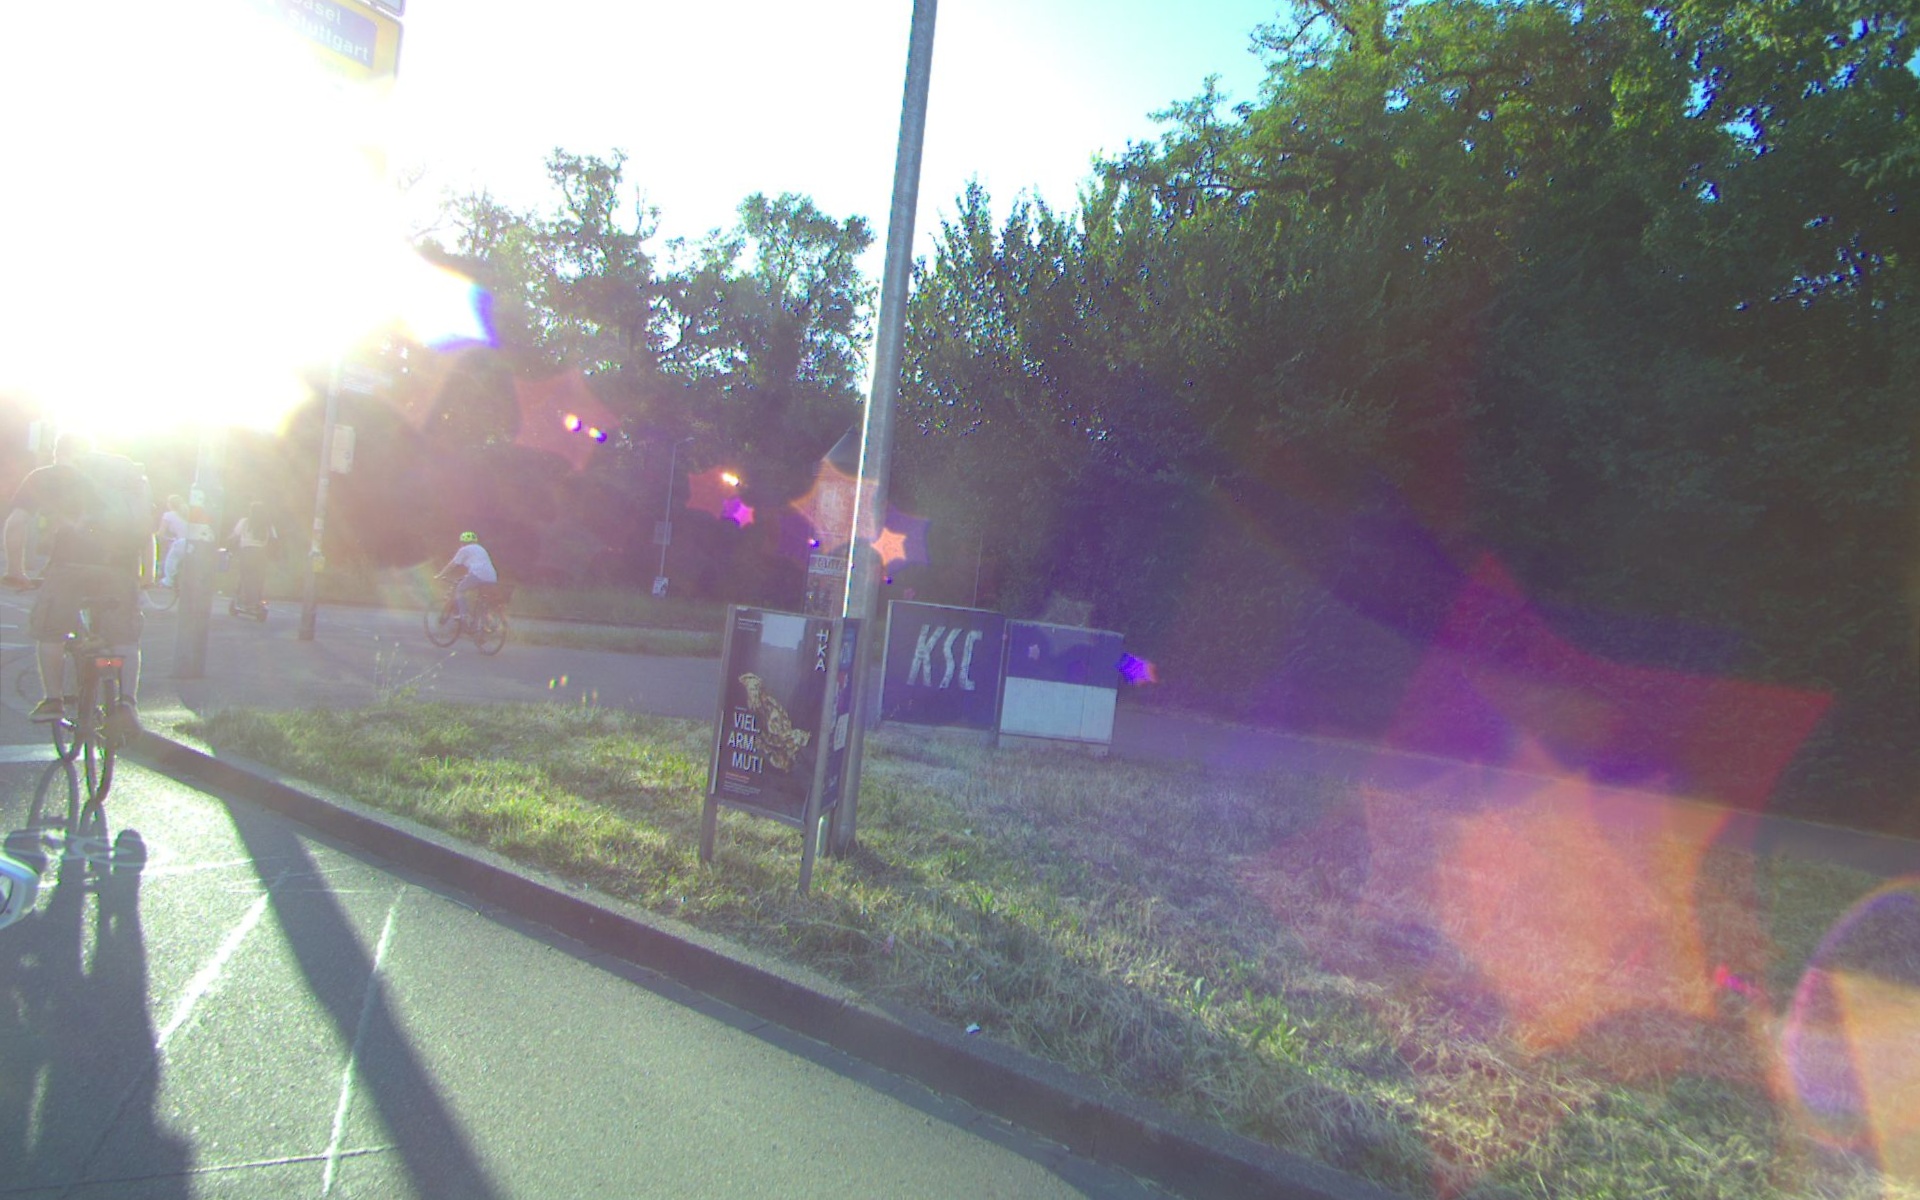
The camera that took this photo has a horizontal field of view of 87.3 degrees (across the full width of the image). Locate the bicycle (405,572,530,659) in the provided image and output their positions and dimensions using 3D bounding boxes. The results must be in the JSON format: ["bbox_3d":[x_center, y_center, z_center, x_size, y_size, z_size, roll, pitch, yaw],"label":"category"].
[{"bbox_3d":[-7.002,0.214,14.278,1.771,1.027,0.565,7,0,28],"label":"bicycle"}]

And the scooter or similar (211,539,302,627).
[{"bbox_3d":[-10.792,-0.268,15.421,1.399,1.204,0.562,6,0,33],"label":"scooter or similar"}]

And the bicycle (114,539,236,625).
[{"bbox_3d":[-11.505,-0.276,14.729,1.984,1.019,0.771,7,-1,34],"label":"bicycle"}]

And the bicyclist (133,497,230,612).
[{"bbox_3d":[-11.331,-0.655,14.643,0.843,1.536,0.760,7,0,34],"label":"bicyclist"}]

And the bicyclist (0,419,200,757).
[{"bbox_3d":[-4.806,-0.058,5.503,0.786,1.686,0.698,7,-1,37],"label":"bicyclist"}]

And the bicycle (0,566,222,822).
[{"bbox_3d":[-4.751,0.436,5.414,1.798,1.075,0.698,6,-1,38],"label":"bicycle"}]

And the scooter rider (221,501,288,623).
[{"bbox_3d":[-10.861,-0.582,15.486,0.497,1.788,0.566,6,0,33],"label":"scooter rider"}]

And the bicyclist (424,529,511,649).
[{"bbox_3d":[-6.988,-0.150,14.286,0.883,1.589,0.555,7,1,27],"label":"bicyclist"}]
